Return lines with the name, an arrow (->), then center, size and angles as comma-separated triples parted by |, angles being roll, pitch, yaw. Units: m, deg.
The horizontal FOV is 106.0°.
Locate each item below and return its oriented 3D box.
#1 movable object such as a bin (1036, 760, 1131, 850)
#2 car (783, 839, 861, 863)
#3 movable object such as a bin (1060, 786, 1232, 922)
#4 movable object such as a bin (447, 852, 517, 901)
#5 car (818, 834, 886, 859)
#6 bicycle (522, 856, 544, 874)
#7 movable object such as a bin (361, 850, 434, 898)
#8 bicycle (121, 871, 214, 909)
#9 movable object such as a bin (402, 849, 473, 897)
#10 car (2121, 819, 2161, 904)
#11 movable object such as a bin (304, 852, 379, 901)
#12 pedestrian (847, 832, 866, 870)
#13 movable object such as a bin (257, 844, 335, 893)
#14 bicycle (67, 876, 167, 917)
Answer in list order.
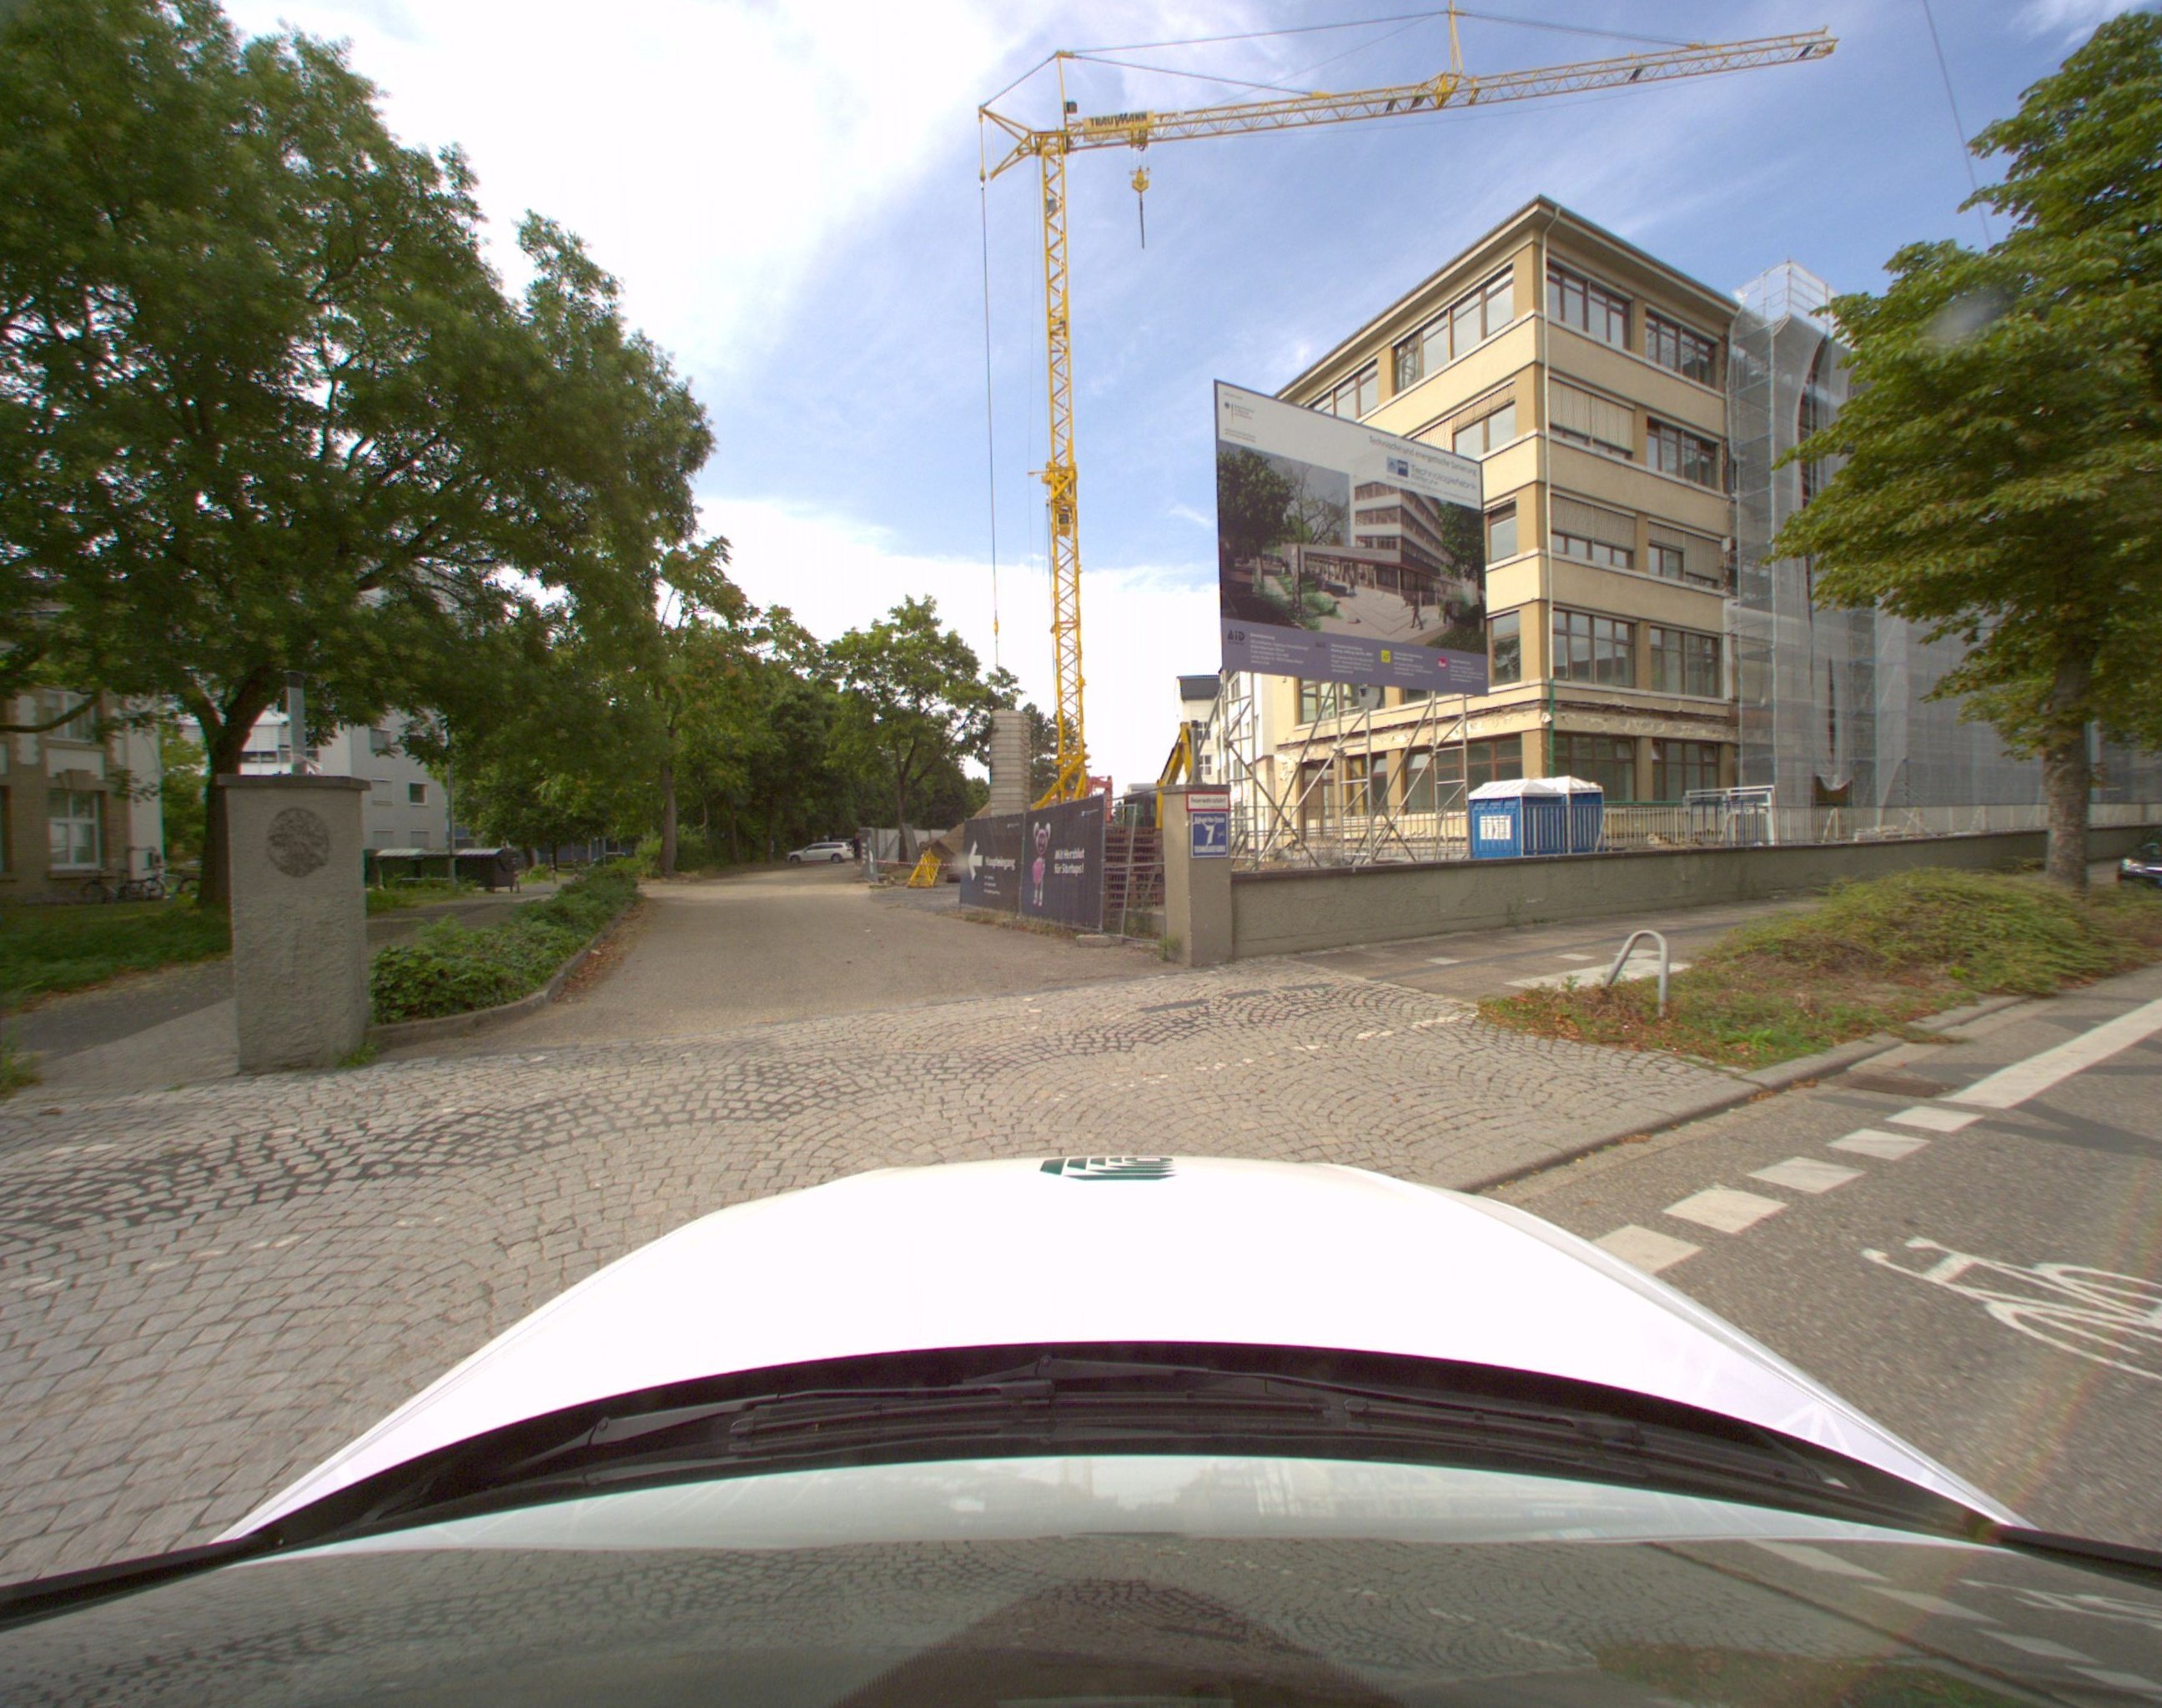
movable object such as a bin -> 0.500, -3.796, 66.553 | 3.811, 6.668, 11.048 | -1, 1, 22
car -> -17.908, -0.212, 56.495 | 4.787, 1.488, 1.996 | -2, 1, -6
movable object such as a bin -> 1.204, -0.060, 16.519 | 2.496, 2.442, 3.043 | -2, 1, -18
movable object such as a bin -> -18.645, 0.676, 25.387 | 1.276, 1.430, 1.122 | -1, 1, 0
car -> -19.021, -0.663, 67.825 | 5.033, 1.953, 1.999 | -1, 1, -2
bicycle -> -39.181, 0.767, 58.224 | 0.650, 1.181, 1.892 | -2, 1, -13
movable object such as a bin -> -21.534, 0.609, 25.678 | 1.276, 1.430, 1.122 | -1, 1, 0
bicycle -> -27.394, 1.084, 24.438 | 1.967, 1.043, 0.594 | -2, 2, -3
movable object such as a bin -> -20.180, 0.578, 25.578 | 1.276, 1.430, 1.122 | -1, 1, 0
car -> 20.338, 0.081, 14.586 | 3.975, 1.402, 1.580 | -2, 2, -30
movable object such as a bin -> -23.134, 0.690, 25.509 | 1.276, 1.430, 1.122 | -1, 1, 0
pedestrian -> -10.910, -0.143, 39.620 | 0.746, 1.789, 0.729 | -1, 1, -6
movable object such as a bin -> -24.521, 0.437, 25.467 | 1.276, 1.430, 1.122 | -1, 1, 0
bicycle -> -27.312, 1.194, 23.084 | 1.967, 1.043, 0.594 | -2, 2, -3
